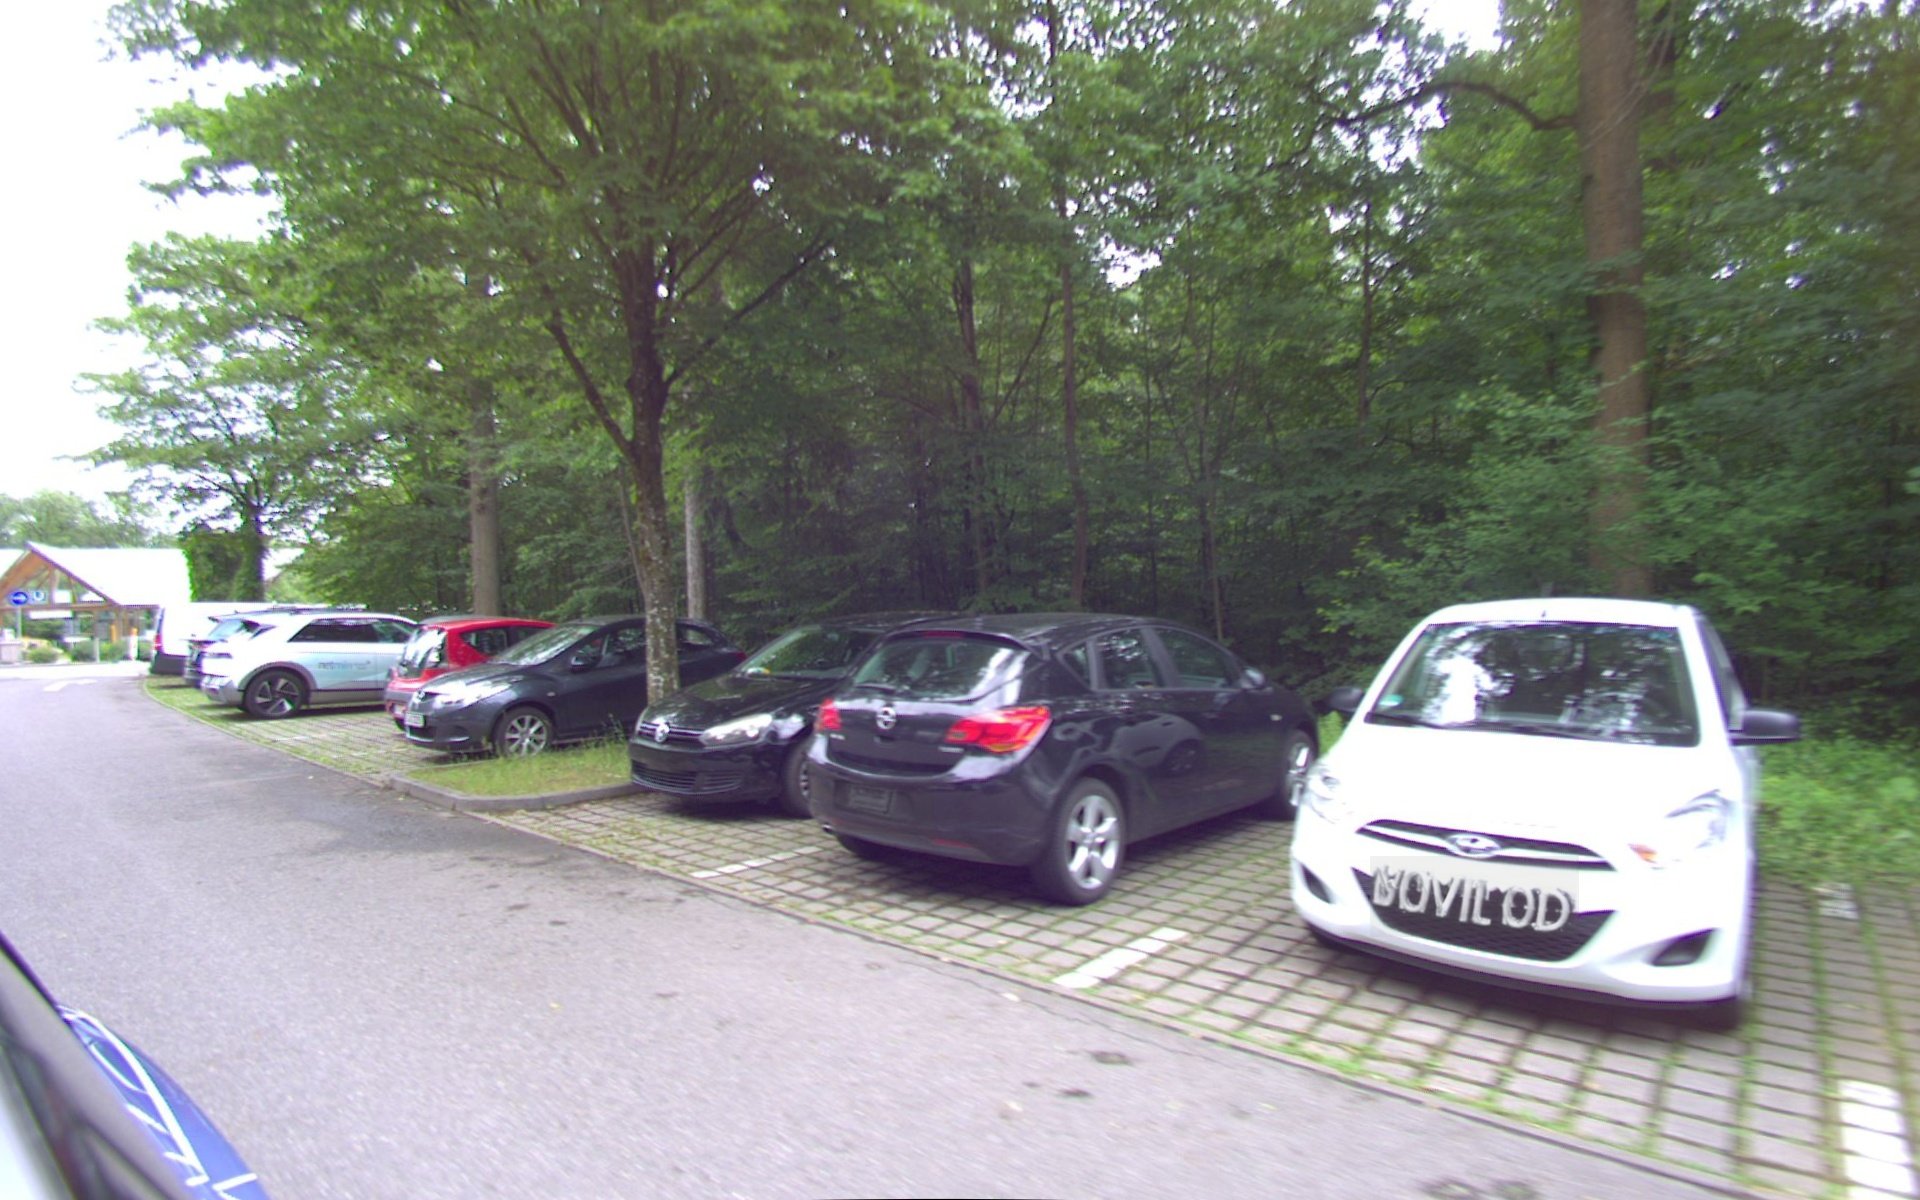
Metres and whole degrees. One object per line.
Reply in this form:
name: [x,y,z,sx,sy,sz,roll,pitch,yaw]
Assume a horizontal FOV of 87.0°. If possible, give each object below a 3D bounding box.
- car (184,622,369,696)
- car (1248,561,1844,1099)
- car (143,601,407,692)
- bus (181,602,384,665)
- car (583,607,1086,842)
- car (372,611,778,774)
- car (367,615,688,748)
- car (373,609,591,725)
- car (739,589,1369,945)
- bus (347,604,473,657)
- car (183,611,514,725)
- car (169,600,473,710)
car: [-14.734,1.249,21.859,3.184,1.478,1.658,1,-4,-38]
car: [3.131,0.699,5.124,1.760,1.545,4.192,-1,-2,38]
car: [-16.114,1.020,23.961,5.021,1.930,1.982,0,-2,-40]
bus: [-38.589,1.840,58.329,2.786,3.183,10.467,-3,-2,15]
car: [-0.828,0.813,8.644,1.720,1.484,4.188,-1,0,42]
car: [-4.152,0.903,11.398,1.707,1.502,3.945,-2,-2,41]
car: [-5.647,0.972,13.447,3.565,1.485,1.675,0,-2,-45]
car: [-7.197,0.944,15.336,1.445,1.553,2.631,-2,-1,42]
car: [0.884,0.745,6.626,2.006,1.541,4.188,-1,-1,42]
bus: [-36.279,1.996,67.132,2.786,3.183,7.718,-3,-2,15]
car: [-9.871,0.994,16.542,4.304,1.610,2.032,0,-1,-44]
car: [-11.545,0.914,18.433,4.371,1.707,2.174,-1,-1,-42]
